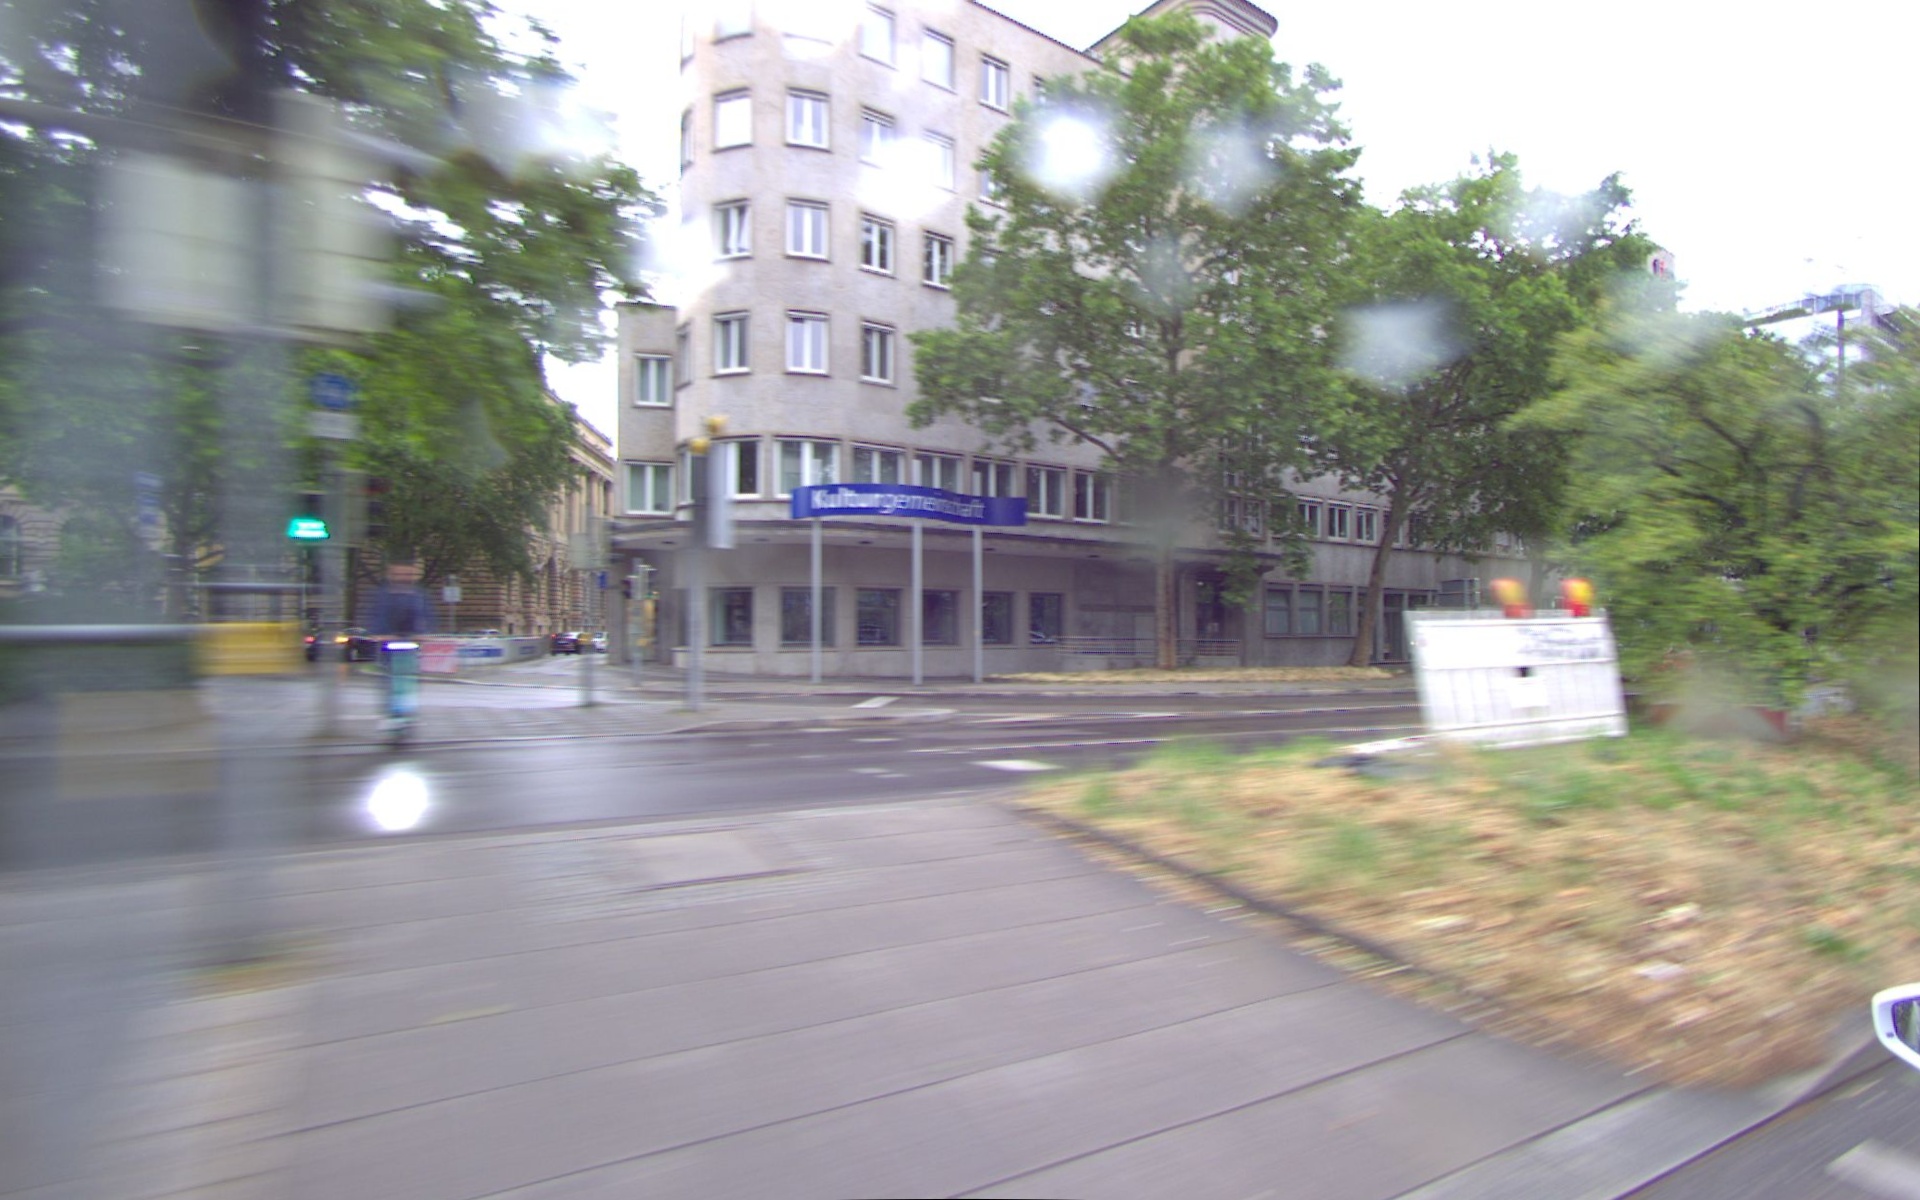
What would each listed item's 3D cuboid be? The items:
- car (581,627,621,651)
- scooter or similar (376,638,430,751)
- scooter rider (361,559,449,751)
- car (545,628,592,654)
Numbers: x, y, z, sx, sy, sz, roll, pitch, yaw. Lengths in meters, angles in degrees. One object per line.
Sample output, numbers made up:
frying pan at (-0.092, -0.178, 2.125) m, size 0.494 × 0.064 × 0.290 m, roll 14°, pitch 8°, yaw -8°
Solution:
car at (-23.283, 2.500, 65.246) m, size 1.736 × 1.416 × 3.842 m, roll 1°, pitch -1°, yaw -9°
scooter or similar at (-6.078, 0.994, 10.936) m, size 0.430 × 1.128 × 1.175 m, roll 2°, pitch -1°, yaw -32°
scooter rider at (-6.041, 0.577, 10.918) m, size 0.749 × 1.966 × 0.895 m, roll 2°, pitch -1°, yaw -33°
car at (-22.987, 2.407, 59.155) m, size 1.736 × 1.416 × 3.842 m, roll 1°, pitch -1°, yaw -9°
